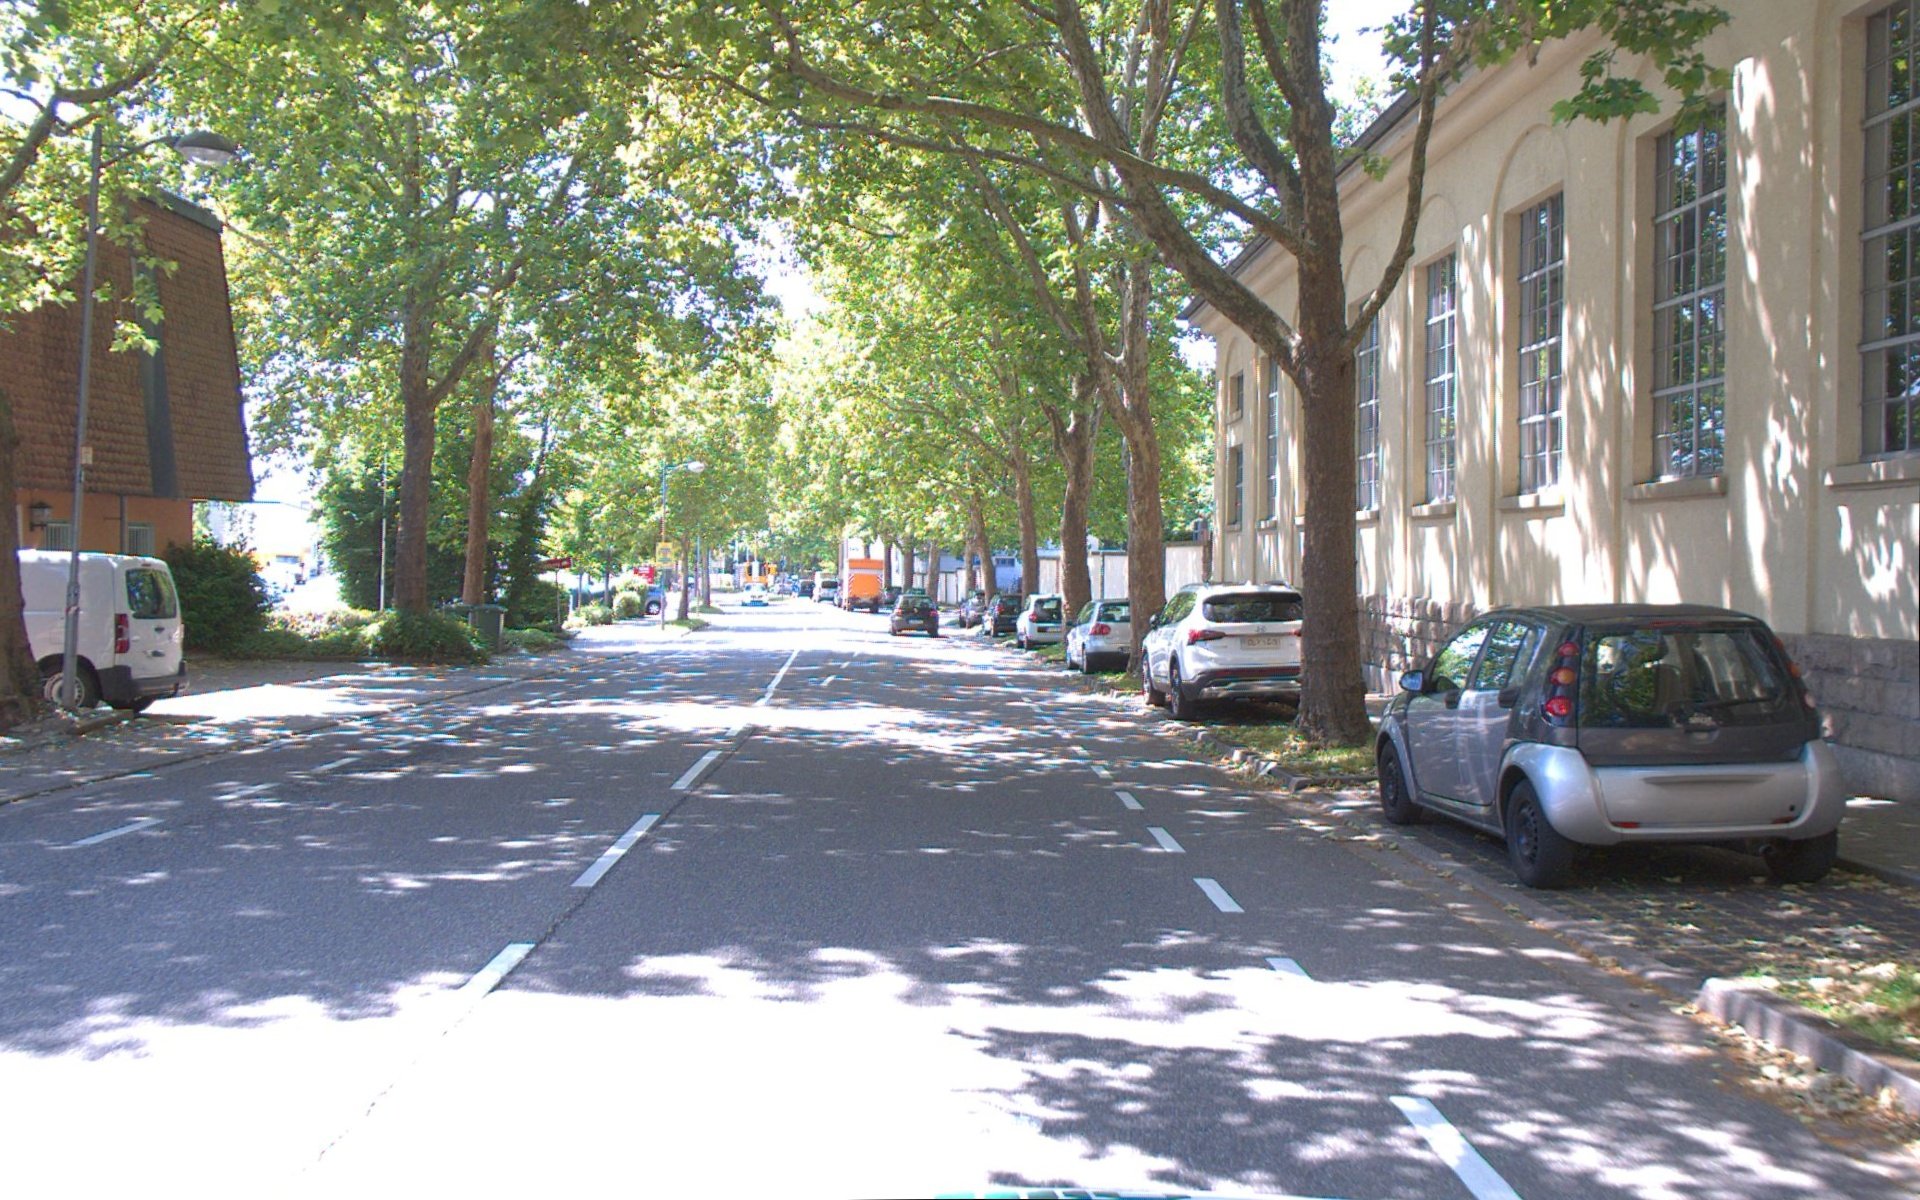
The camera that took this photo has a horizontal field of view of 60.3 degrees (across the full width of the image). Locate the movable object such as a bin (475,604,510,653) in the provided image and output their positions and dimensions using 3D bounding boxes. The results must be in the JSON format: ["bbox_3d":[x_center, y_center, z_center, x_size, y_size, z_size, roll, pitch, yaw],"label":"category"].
[{"bbox_3d":[-10.363,0.629,36.647,0.611,1.066,0.620,0,0,-2],"label":"movable object such as a bin"}]

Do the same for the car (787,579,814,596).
[{"bbox_3d":[-13.514,-1.065,140.414,1.737,1.398,3.716,-1,0,-14],"label":"car"}]

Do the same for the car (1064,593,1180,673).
[{"bbox_3d":[3.160,0.612,32.928,1.731,1.458,3.873,-1,0,-3],"label":"car"}]

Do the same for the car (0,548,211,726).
[{"bbox_3d":[-10.769,0.351,18.300,4.047,1.836,1.901,2,0,-4],"label":"car"}]

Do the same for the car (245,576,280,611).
[{"bbox_3d":[-42.994,-0.373,101.953,1.967,2.049,3.971,0,-1,-23],"label":"car"}]

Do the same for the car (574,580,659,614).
[{"bbox_3d":[-17.653,-0.146,84.999,3.942,1.695,1.981,0,-1,-29],"label":"car"}]

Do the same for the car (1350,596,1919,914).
[{"bbox_3d":[3.758,0.732,10.124,1.588,1.465,4.431,-1,0,-1],"label":"car"}]

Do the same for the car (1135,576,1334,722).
[{"bbox_3d":[3.562,0.571,22.328,1.771,1.718,4.750,-1,0,-1],"label":"car"}]

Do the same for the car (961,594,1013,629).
[{"bbox_3d":[1.114,0.460,69.722,1.732,1.398,3.725,-1,0,-6],"label":"car"}]

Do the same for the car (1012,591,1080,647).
[{"bbox_3d":[2.425,0.514,47.362,1.546,1.491,3.873,-1,0,-3],"label":"car"}]

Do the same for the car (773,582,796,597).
[{"bbox_3d":[-16.609,-0.971,156.224,1.736,1.398,3.717,-1,0,-13],"label":"car"}]

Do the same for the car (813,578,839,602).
[{"bbox_3d":[-10.173,-0.745,125.302,1.843,1.715,3.994,0,-1,-6],"label":"car"}]

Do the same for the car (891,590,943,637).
[{"bbox_3d":[-1.555,0.451,58.439,1.677,1.472,4.056,0,2,-4],"label":"car"}]

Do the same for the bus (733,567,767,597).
[{"bbox_3d":[-23.692,-1.954,186.530,2.618,3.205,11.158,0,0,-13],"label":"bus"}]

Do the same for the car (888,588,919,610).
[{"bbox_3d":[-3.651,-0.053,105.934,1.732,1.398,3.725,1,0,-6],"label":"car"}]

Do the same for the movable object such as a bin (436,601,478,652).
[{"bbox_3d":[-11.095,0.585,36.463,0.720,1.097,0.701,0,0,-2],"label":"movable object such as a bin"}]

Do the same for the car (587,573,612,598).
[{"bbox_3d":[-31.242,-1.264,143.303,1.960,2.049,3.985,0,-1,-14],"label":"car"}]

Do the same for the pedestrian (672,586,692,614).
[{"bbox_3d":[-15.557,-0.007,92.465,1.074,1.547,0.967,1,0,-10],"label":"pedestrian"}]

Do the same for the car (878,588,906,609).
[{"bbox_3d":[-4.883,-0.107,117.744,1.732,1.398,3.725,-1,0,-6],"label":"car"}]

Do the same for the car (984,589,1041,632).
[{"bbox_3d":[1.883,0.358,59.903,1.731,1.491,3.873,-1,0,-3],"label":"car"}]

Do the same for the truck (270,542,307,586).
[{"bbox_3d":[-49.279,-2.621,121.327,2.290,2.943,6.533,0,-1,-24],"label":"truck"}]

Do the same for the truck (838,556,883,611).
[{"bbox_3d":[-6.058,-0.941,100.221,2.326,3.189,5.758,0,-1,-8],"label":"truck"}]

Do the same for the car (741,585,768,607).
[{"bbox_3d":[-13.965,-0.290,112.317,1.679,1.473,4.049,-1,0,-9],"label":"car"}]
